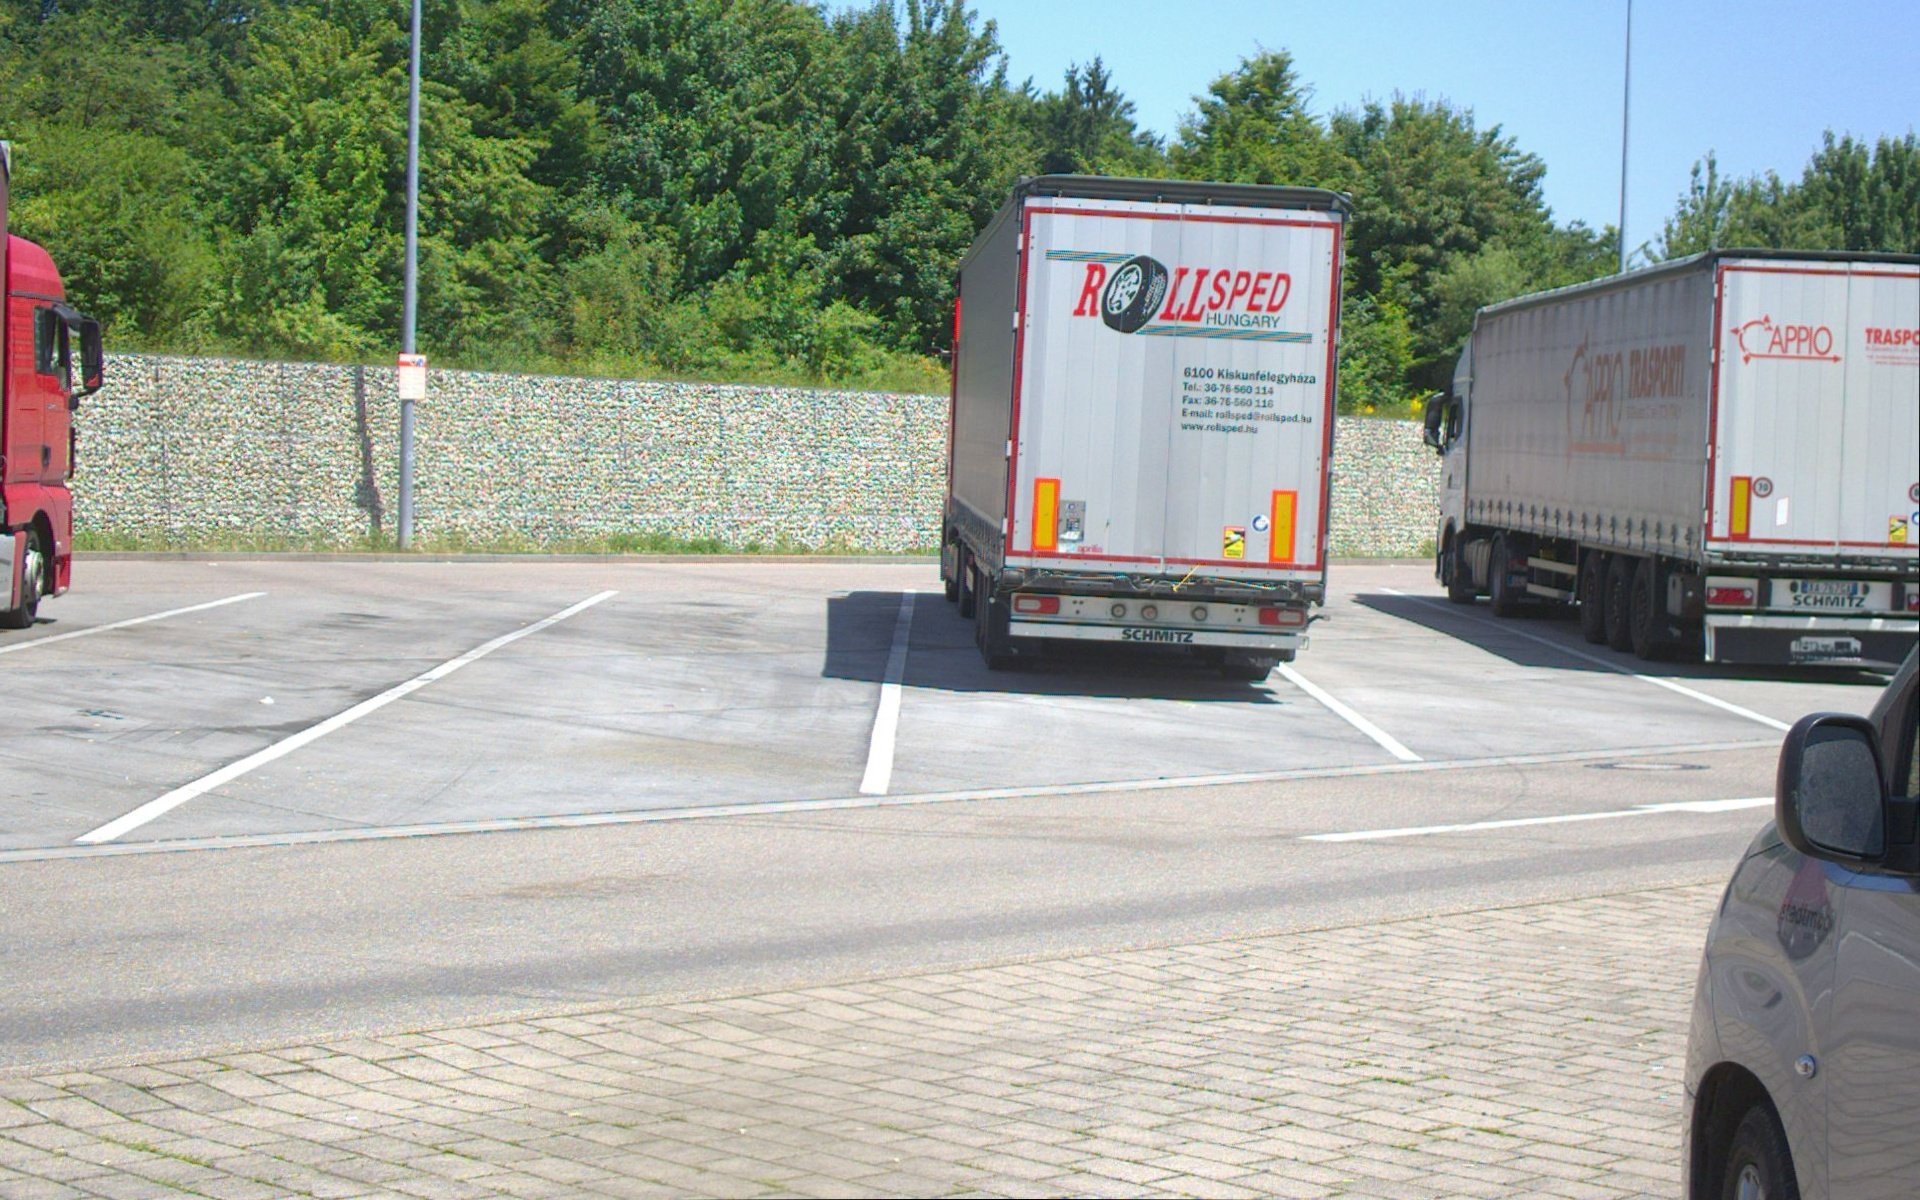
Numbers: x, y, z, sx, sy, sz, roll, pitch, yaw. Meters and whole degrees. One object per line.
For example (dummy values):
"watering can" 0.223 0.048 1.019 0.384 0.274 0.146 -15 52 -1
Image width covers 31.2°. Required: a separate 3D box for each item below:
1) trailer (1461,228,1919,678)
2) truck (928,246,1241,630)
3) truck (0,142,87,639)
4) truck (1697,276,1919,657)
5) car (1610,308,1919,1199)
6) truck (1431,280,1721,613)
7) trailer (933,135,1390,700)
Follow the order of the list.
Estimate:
"trailer" 8.148 -1.580 38.471 2.876 4.110 13.572 1 2 -1
"truck" 1.270 -1.862 39.403 3.026 3.915 6.847 2 3 -2
"truck" -9.225 -1.707 27.653 2.743 4.067 6.830 1 2 -1
"truck" 11.737 -1.481 39.803 2.904 4.110 14.528 3 2 -1
"car" 2.141 0.537 3.791 1.825 1.747 4.001 1 2 -4
"truck" 8.034 -1.997 45.466 2.757 4.110 5.285 1 2 -1
"trailer" 1.485 -1.703 32.635 3.069 4.213 12.810 2 3 -2
